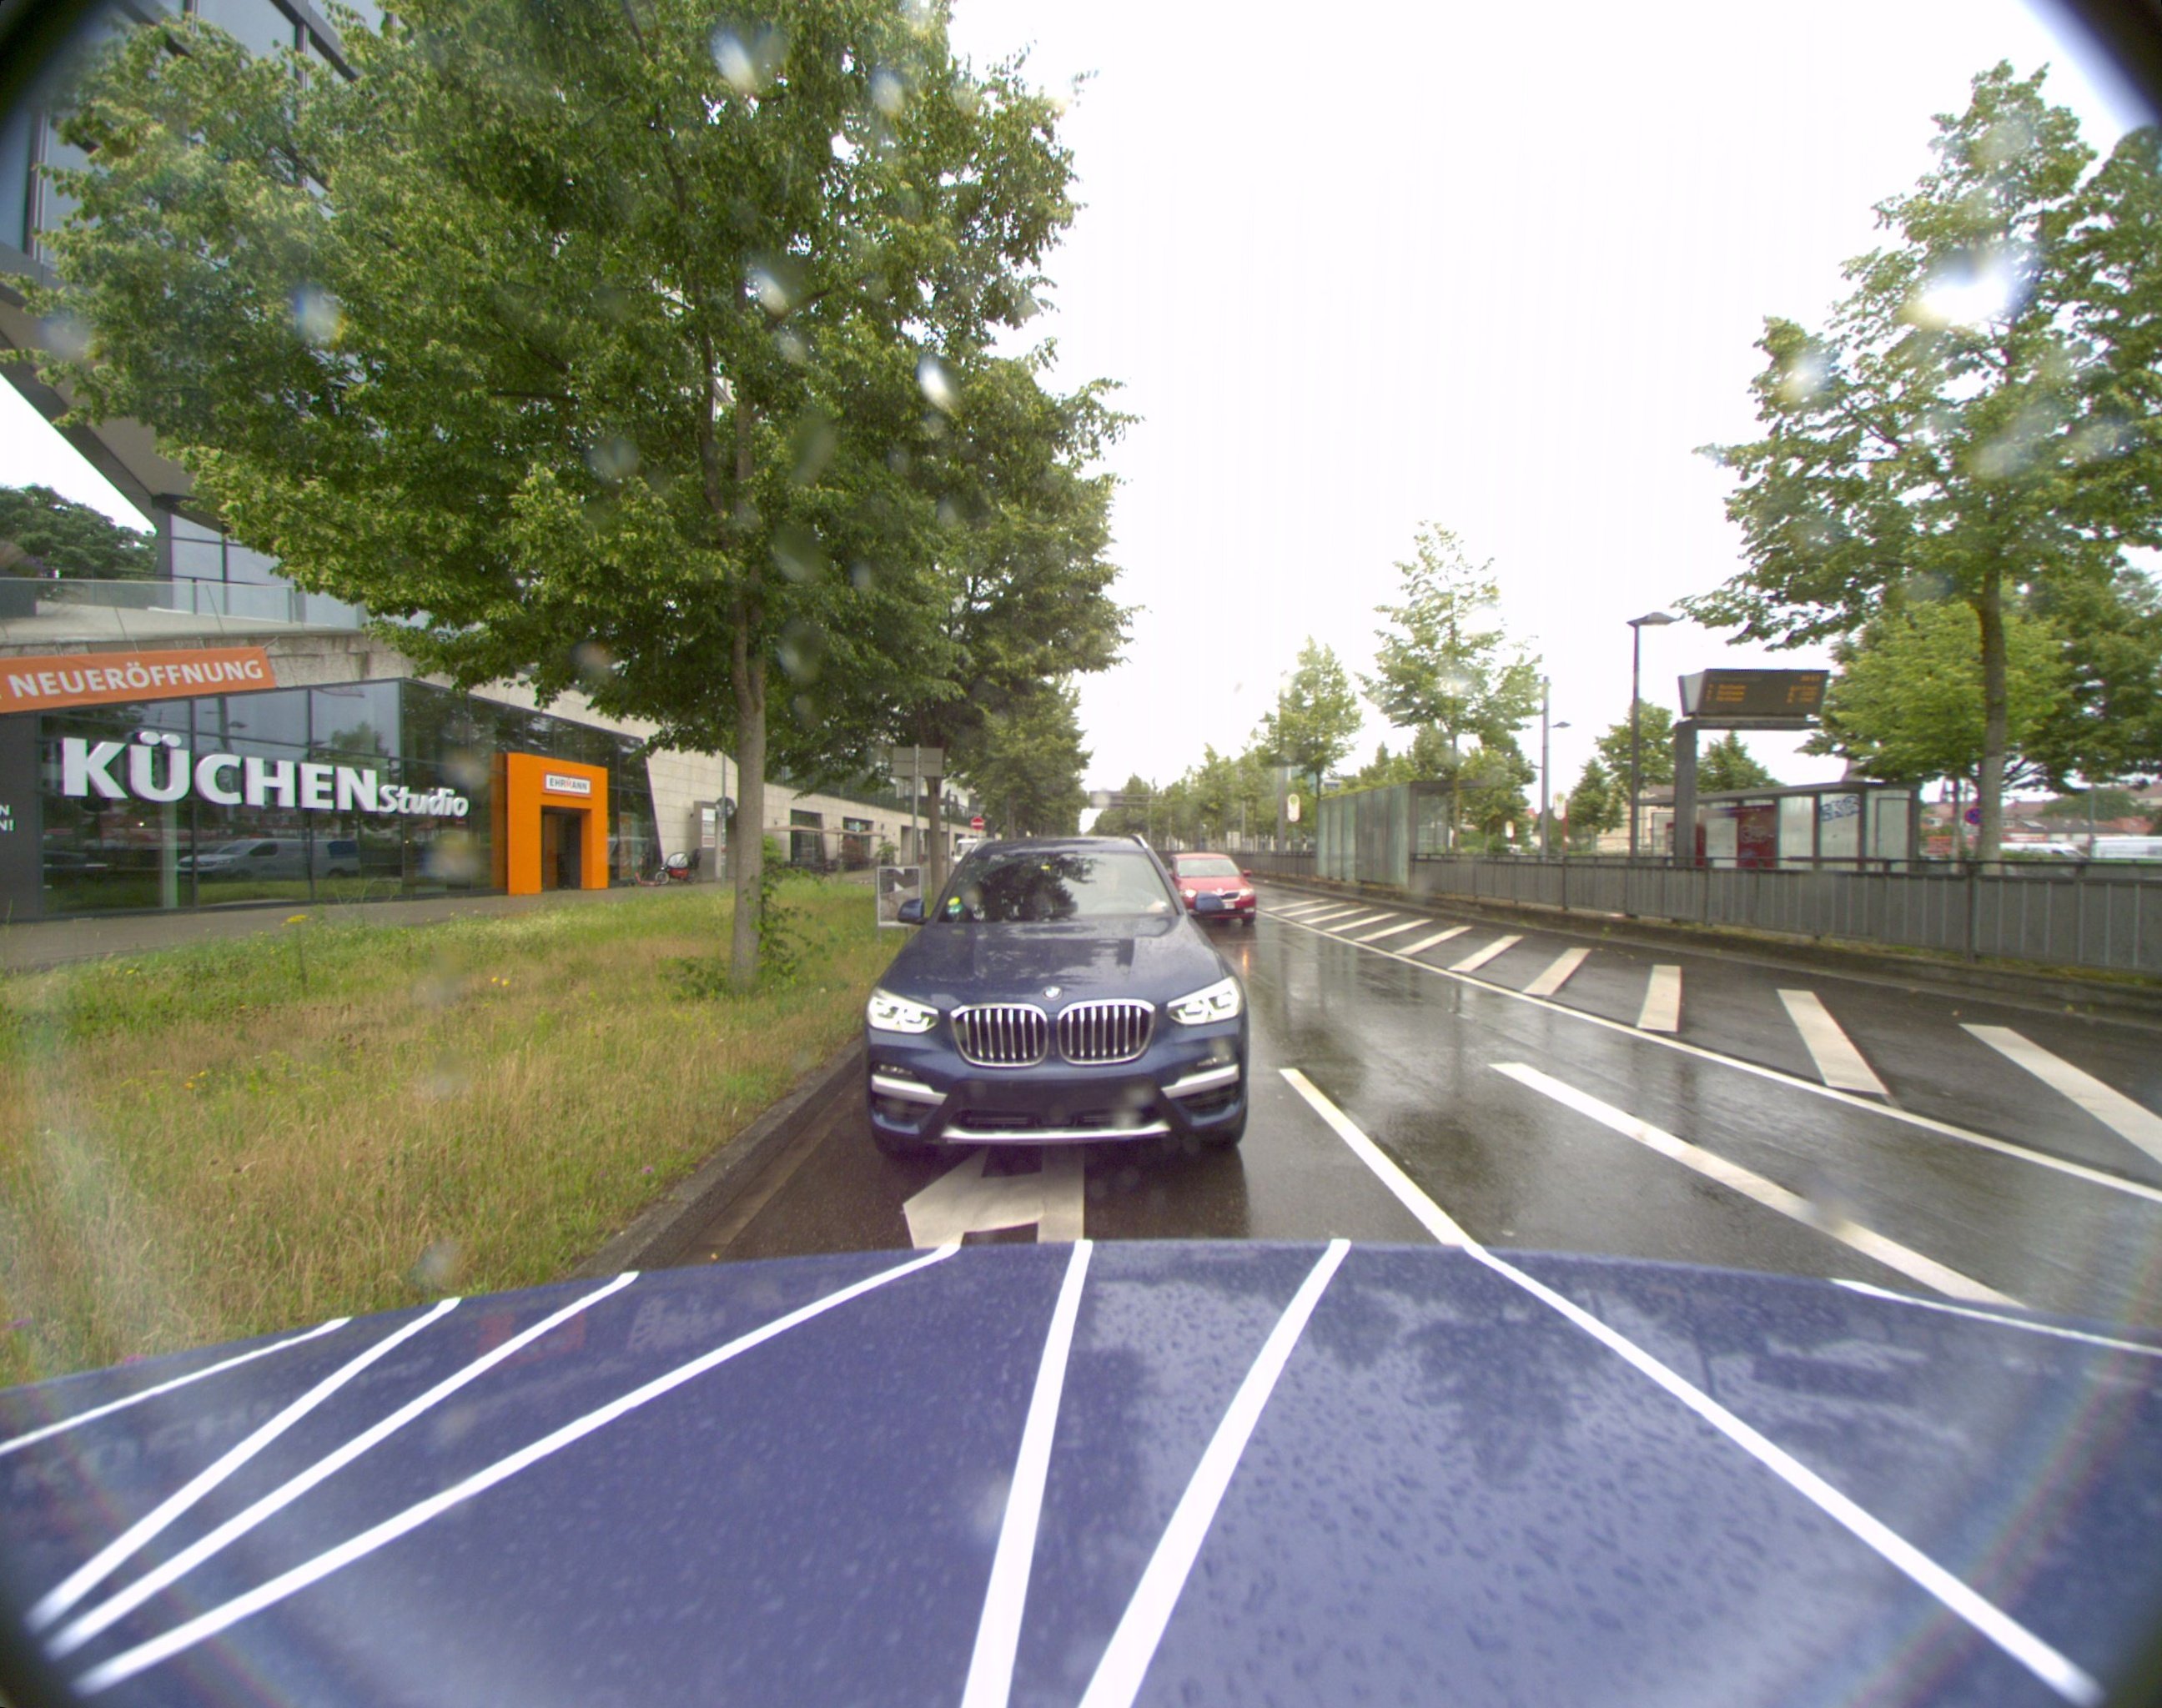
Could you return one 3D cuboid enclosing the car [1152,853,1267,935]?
[{"bbox_3d":[2.669,0.765,16.732,1.788,1.450,4.315,-2,1,1],"label":"car"}]

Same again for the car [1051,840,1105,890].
[{"bbox_3d":[-0.075,0.337,27.887,1.788,1.638,3.999,-2,1,1],"label":"car"}]

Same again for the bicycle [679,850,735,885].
[{"bbox_3d":[-15.287,0.530,31.186,0.882,1.339,2.696,-2,1,1],"label":"bicycle"}]

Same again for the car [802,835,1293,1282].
[{"bbox_3d":[-0.108,0.859,5.258,1.916,1.736,4.384,-2,-1,1],"label":"car"}]

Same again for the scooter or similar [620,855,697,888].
[{"bbox_3d":[-15.617,0.634,28.187,0.810,1.093,2.617,-2,1,18],"label":"scooter or similar"}]

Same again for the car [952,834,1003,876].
[{"bbox_3d":[-5.838,0.048,43.436,2.084,2.189,5.097,-2,1,1],"label":"car"}]

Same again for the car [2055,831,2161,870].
[{"bbox_3d":[70.139,-0.264,49.893,2.356,2.462,7.636,-2,1,-3],"label":"car"}]
